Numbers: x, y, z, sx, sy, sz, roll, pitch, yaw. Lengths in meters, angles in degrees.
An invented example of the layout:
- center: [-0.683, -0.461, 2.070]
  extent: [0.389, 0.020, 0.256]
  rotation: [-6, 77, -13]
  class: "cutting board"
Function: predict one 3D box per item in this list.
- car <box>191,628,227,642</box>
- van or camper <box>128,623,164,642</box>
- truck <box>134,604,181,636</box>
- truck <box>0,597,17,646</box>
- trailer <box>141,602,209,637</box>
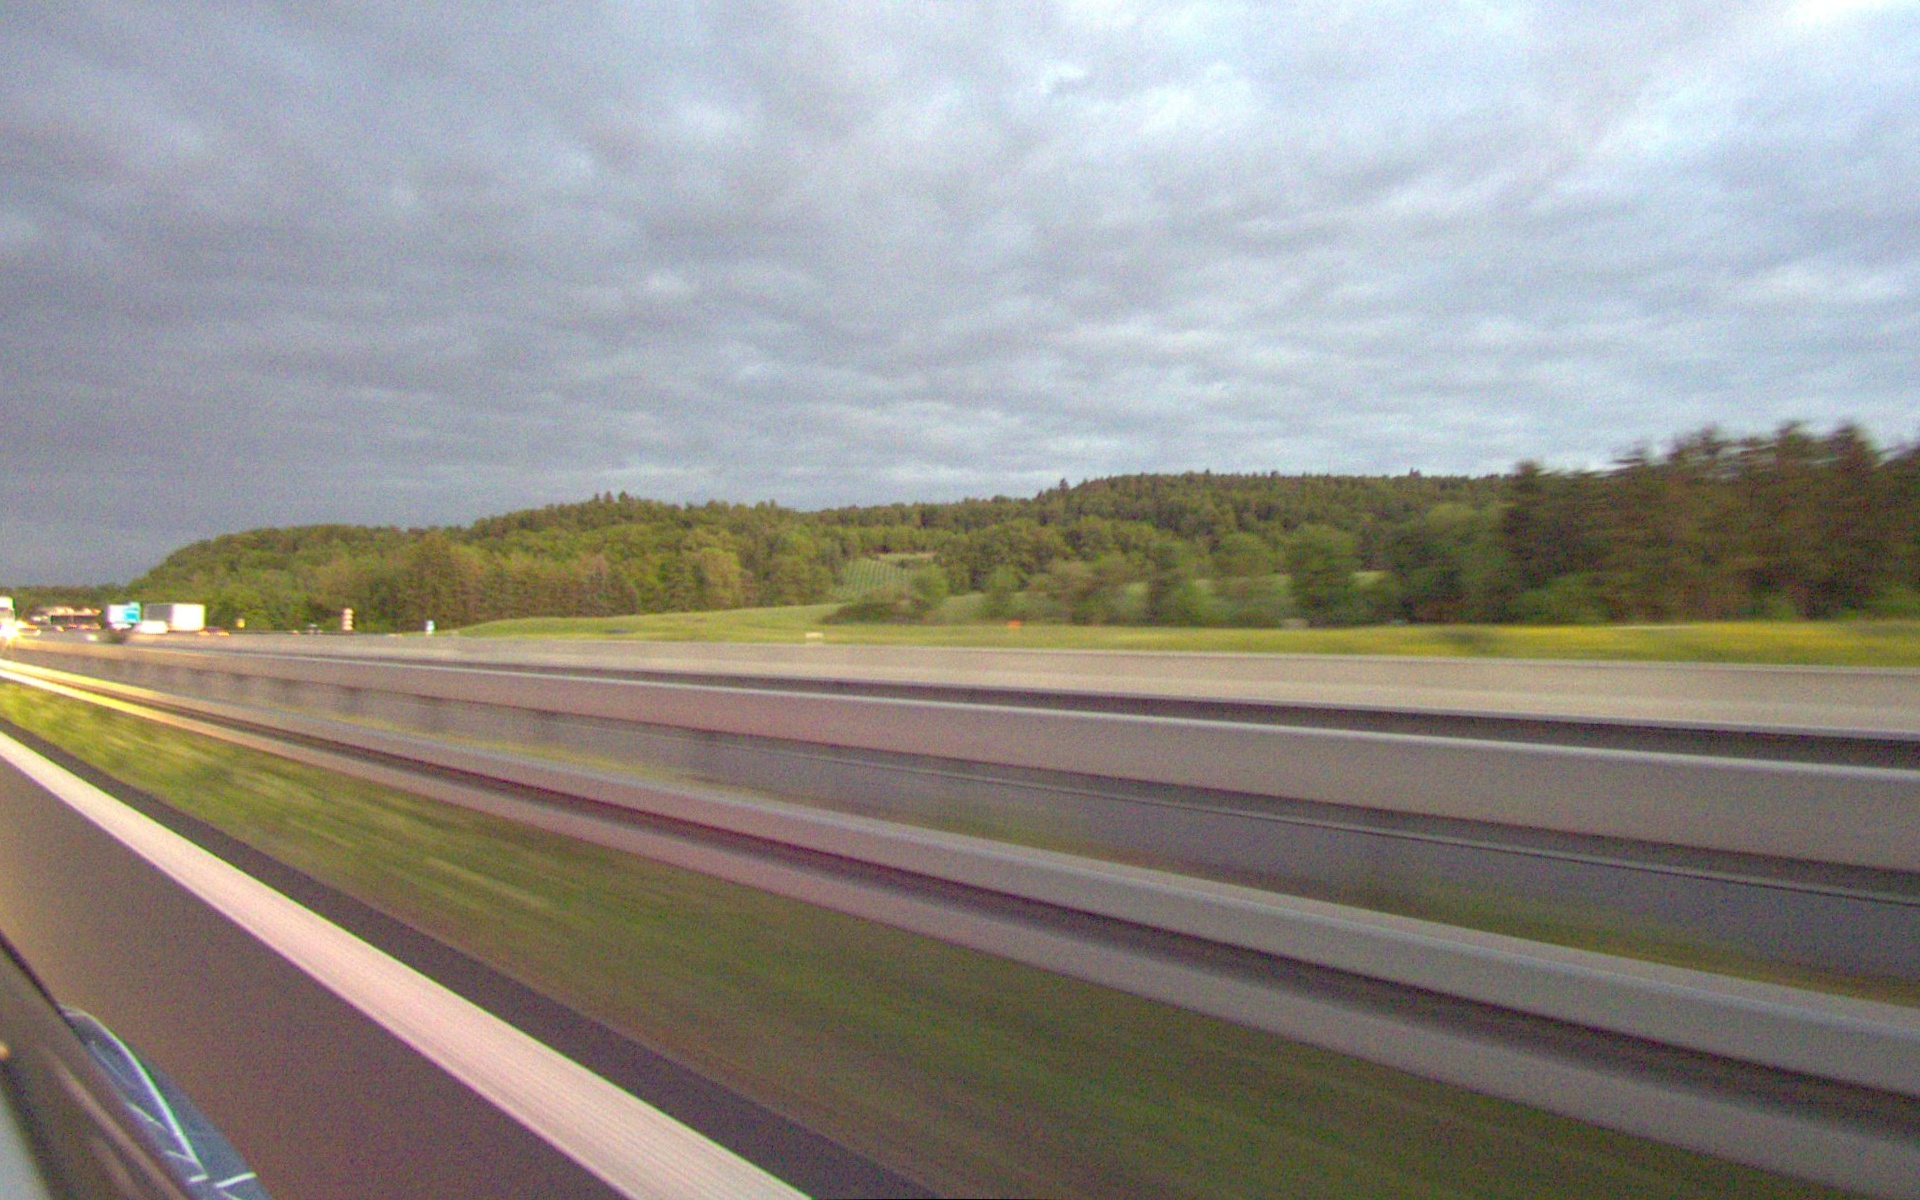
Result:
- center: [-68.177, 3.190, 91.840]
  extent: [4.211, 1.259, 1.734]
  rotation: [-1, -3, 41]
  class: "car"
- center: [-84.507, 3.354, 105.058]
  extent: [5.535, 1.921, 1.872]
  rotation: [-1, -2, 40]
  class: "van or camper"
- center: [-94.771, 2.389, 119.491]
  extent: [5.494, 3.647, 3.276]
  rotation: [-1, -3, 41]
  class: "truck"
- center: [-88.855, 1.990, 92.327]
  extent: [9.885, 4.334, 3.007]
  rotation: [-1, -3, 41]
  class: "truck"
- center: [-88.857, 2.222, 114.390]
  extent: [13.877, 3.794, 3.292]
  rotation: [-1, -3, 41]
  class: "trailer"
